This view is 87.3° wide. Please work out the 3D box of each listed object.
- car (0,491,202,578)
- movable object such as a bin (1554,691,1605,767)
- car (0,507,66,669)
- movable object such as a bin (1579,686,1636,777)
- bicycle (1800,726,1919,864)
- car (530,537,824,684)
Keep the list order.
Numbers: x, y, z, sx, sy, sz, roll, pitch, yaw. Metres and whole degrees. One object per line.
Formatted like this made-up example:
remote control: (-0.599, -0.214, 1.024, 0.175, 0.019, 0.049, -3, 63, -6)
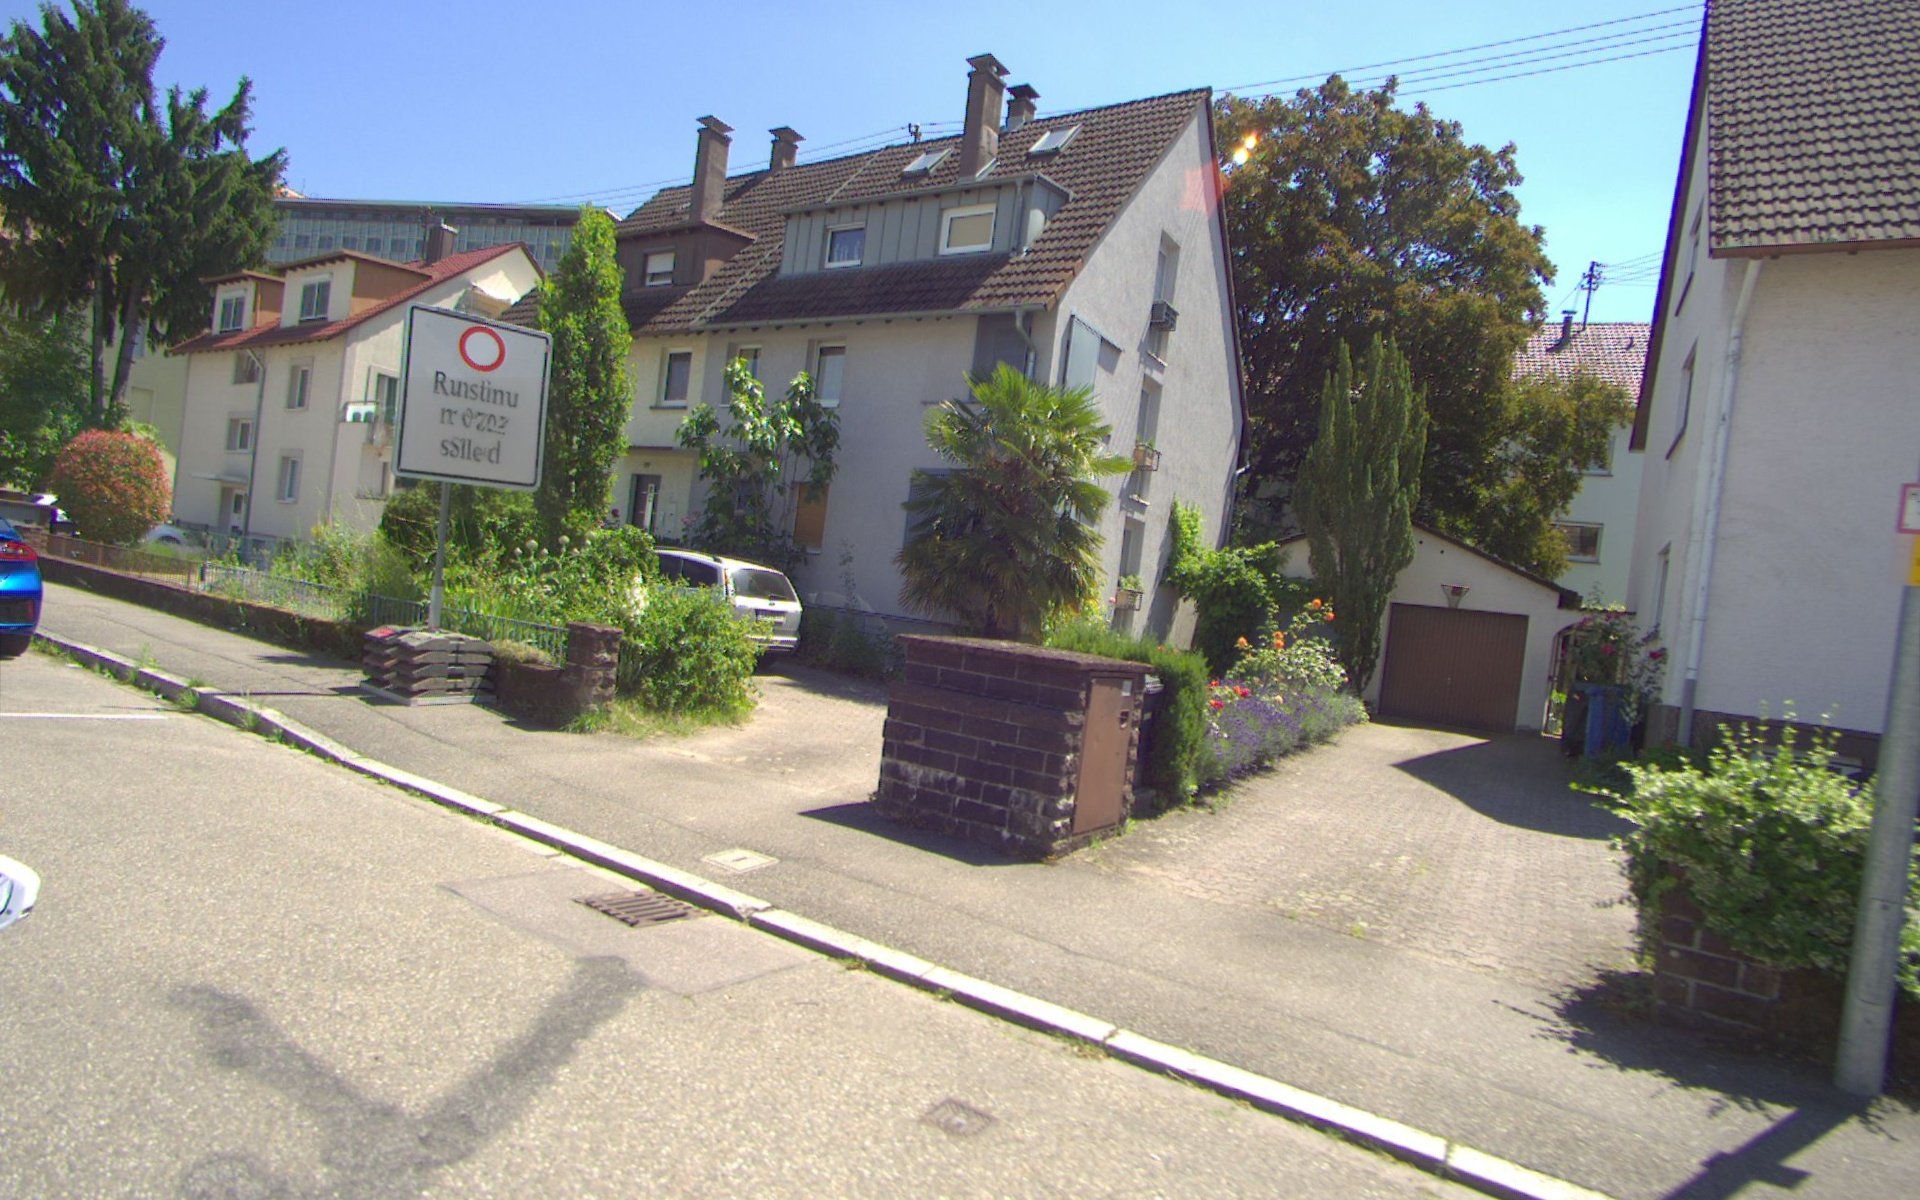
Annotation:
car: (-23.159, -1.721, 27.020, 1.803, 1.629, 3.994, 7, -2, 33)
movable object such as a bin: (9.174, 1.896, 14.922, 0.524, 1.014, 0.854, 7, 0, 31)
car: (-10.642, -0.374, 9.791, 4.217, 1.421, 1.781, 7, -3, 34)
movable object such as a bin: (8.935, 1.802, 13.892, 0.524, 1.165, 0.600, 7, 0, 31)
bicycle: (8.967, 1.841, 9.145, 1.915, 1.121, 0.454, 5, 0, 33)
car: (-4.145, 0.101, 14.603, 3.933, 1.590, 1.795, 7, 2, 31)
